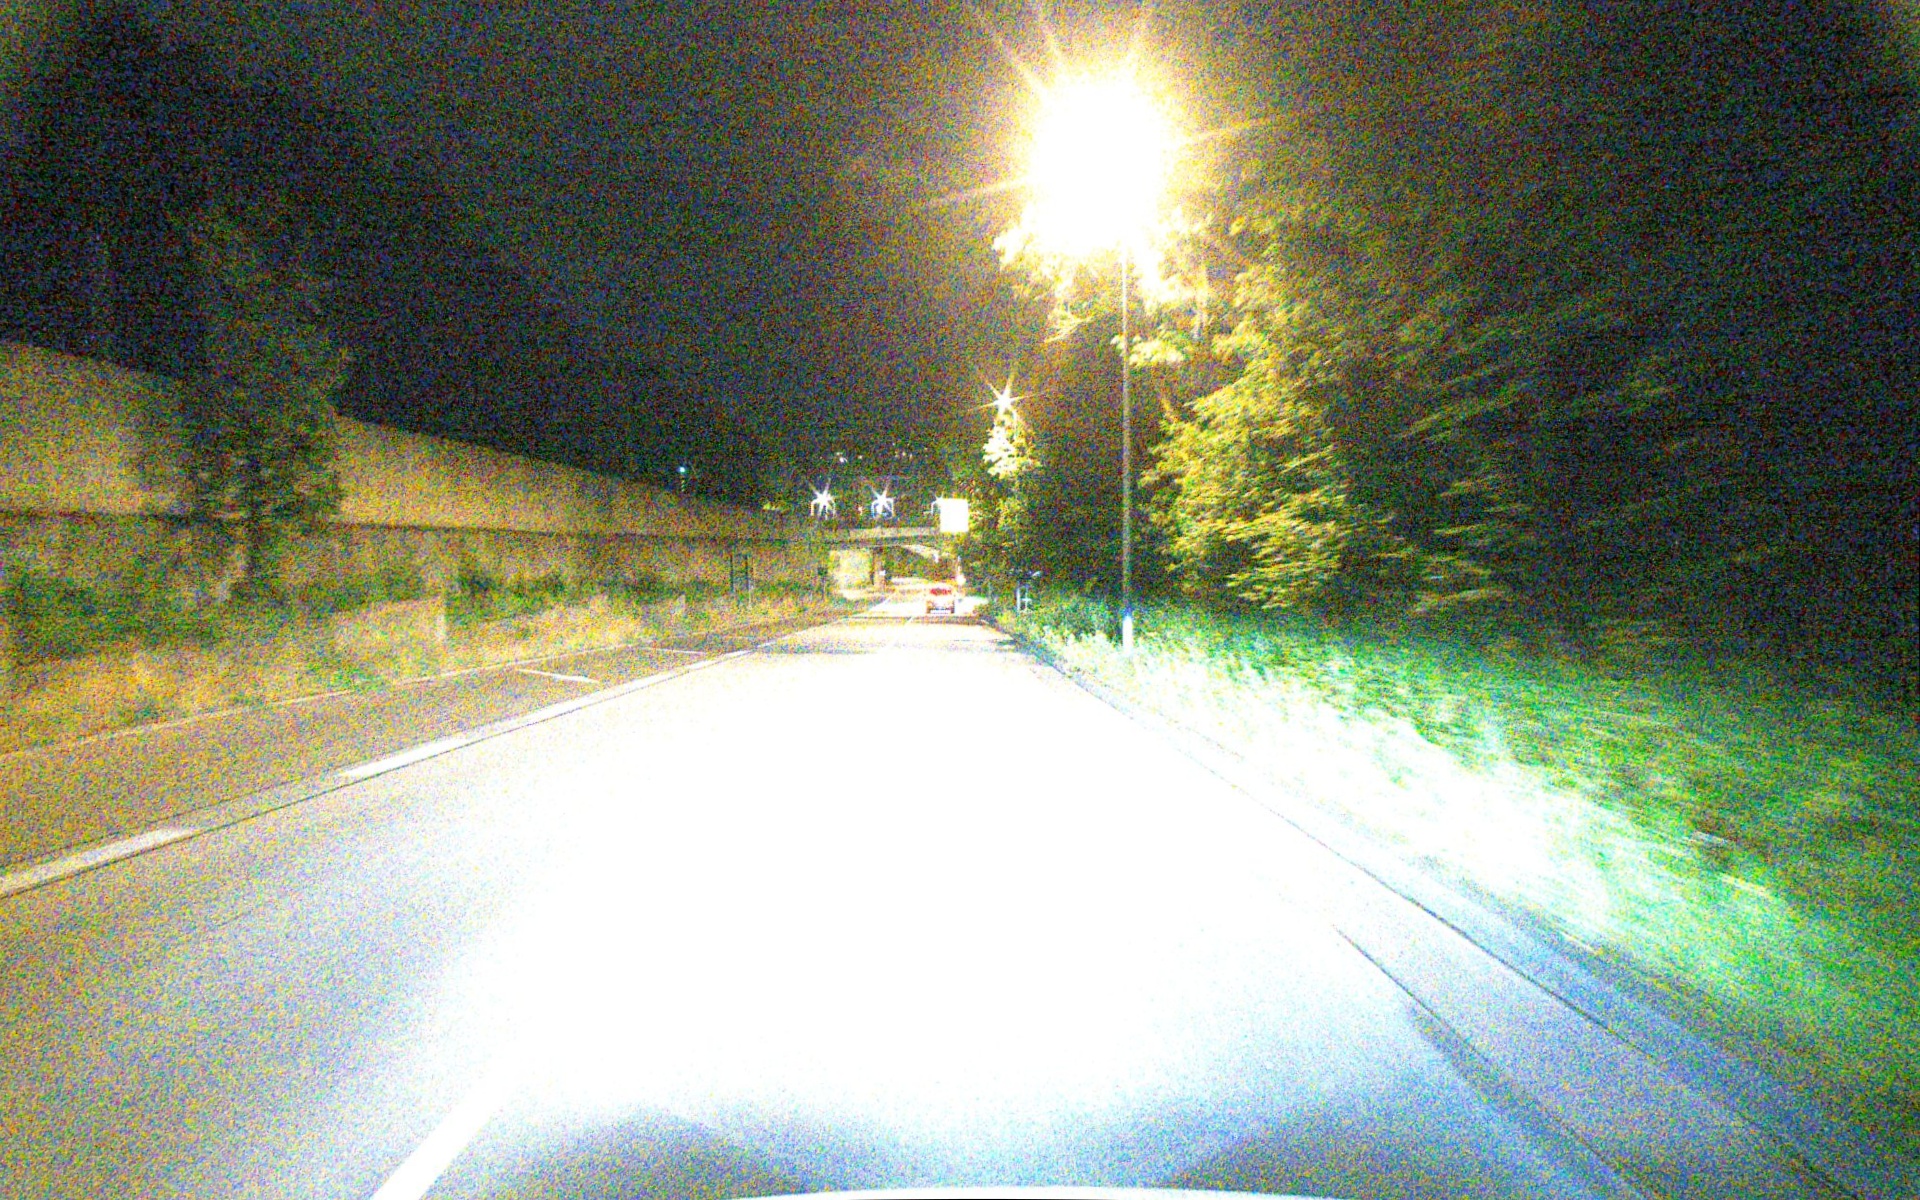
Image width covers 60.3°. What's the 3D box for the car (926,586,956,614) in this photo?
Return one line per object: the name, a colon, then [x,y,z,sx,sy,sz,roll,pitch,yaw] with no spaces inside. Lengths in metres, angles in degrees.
car: [-1.184,0.013,104.601,1.726,1.670,3.724,0,1,2]
